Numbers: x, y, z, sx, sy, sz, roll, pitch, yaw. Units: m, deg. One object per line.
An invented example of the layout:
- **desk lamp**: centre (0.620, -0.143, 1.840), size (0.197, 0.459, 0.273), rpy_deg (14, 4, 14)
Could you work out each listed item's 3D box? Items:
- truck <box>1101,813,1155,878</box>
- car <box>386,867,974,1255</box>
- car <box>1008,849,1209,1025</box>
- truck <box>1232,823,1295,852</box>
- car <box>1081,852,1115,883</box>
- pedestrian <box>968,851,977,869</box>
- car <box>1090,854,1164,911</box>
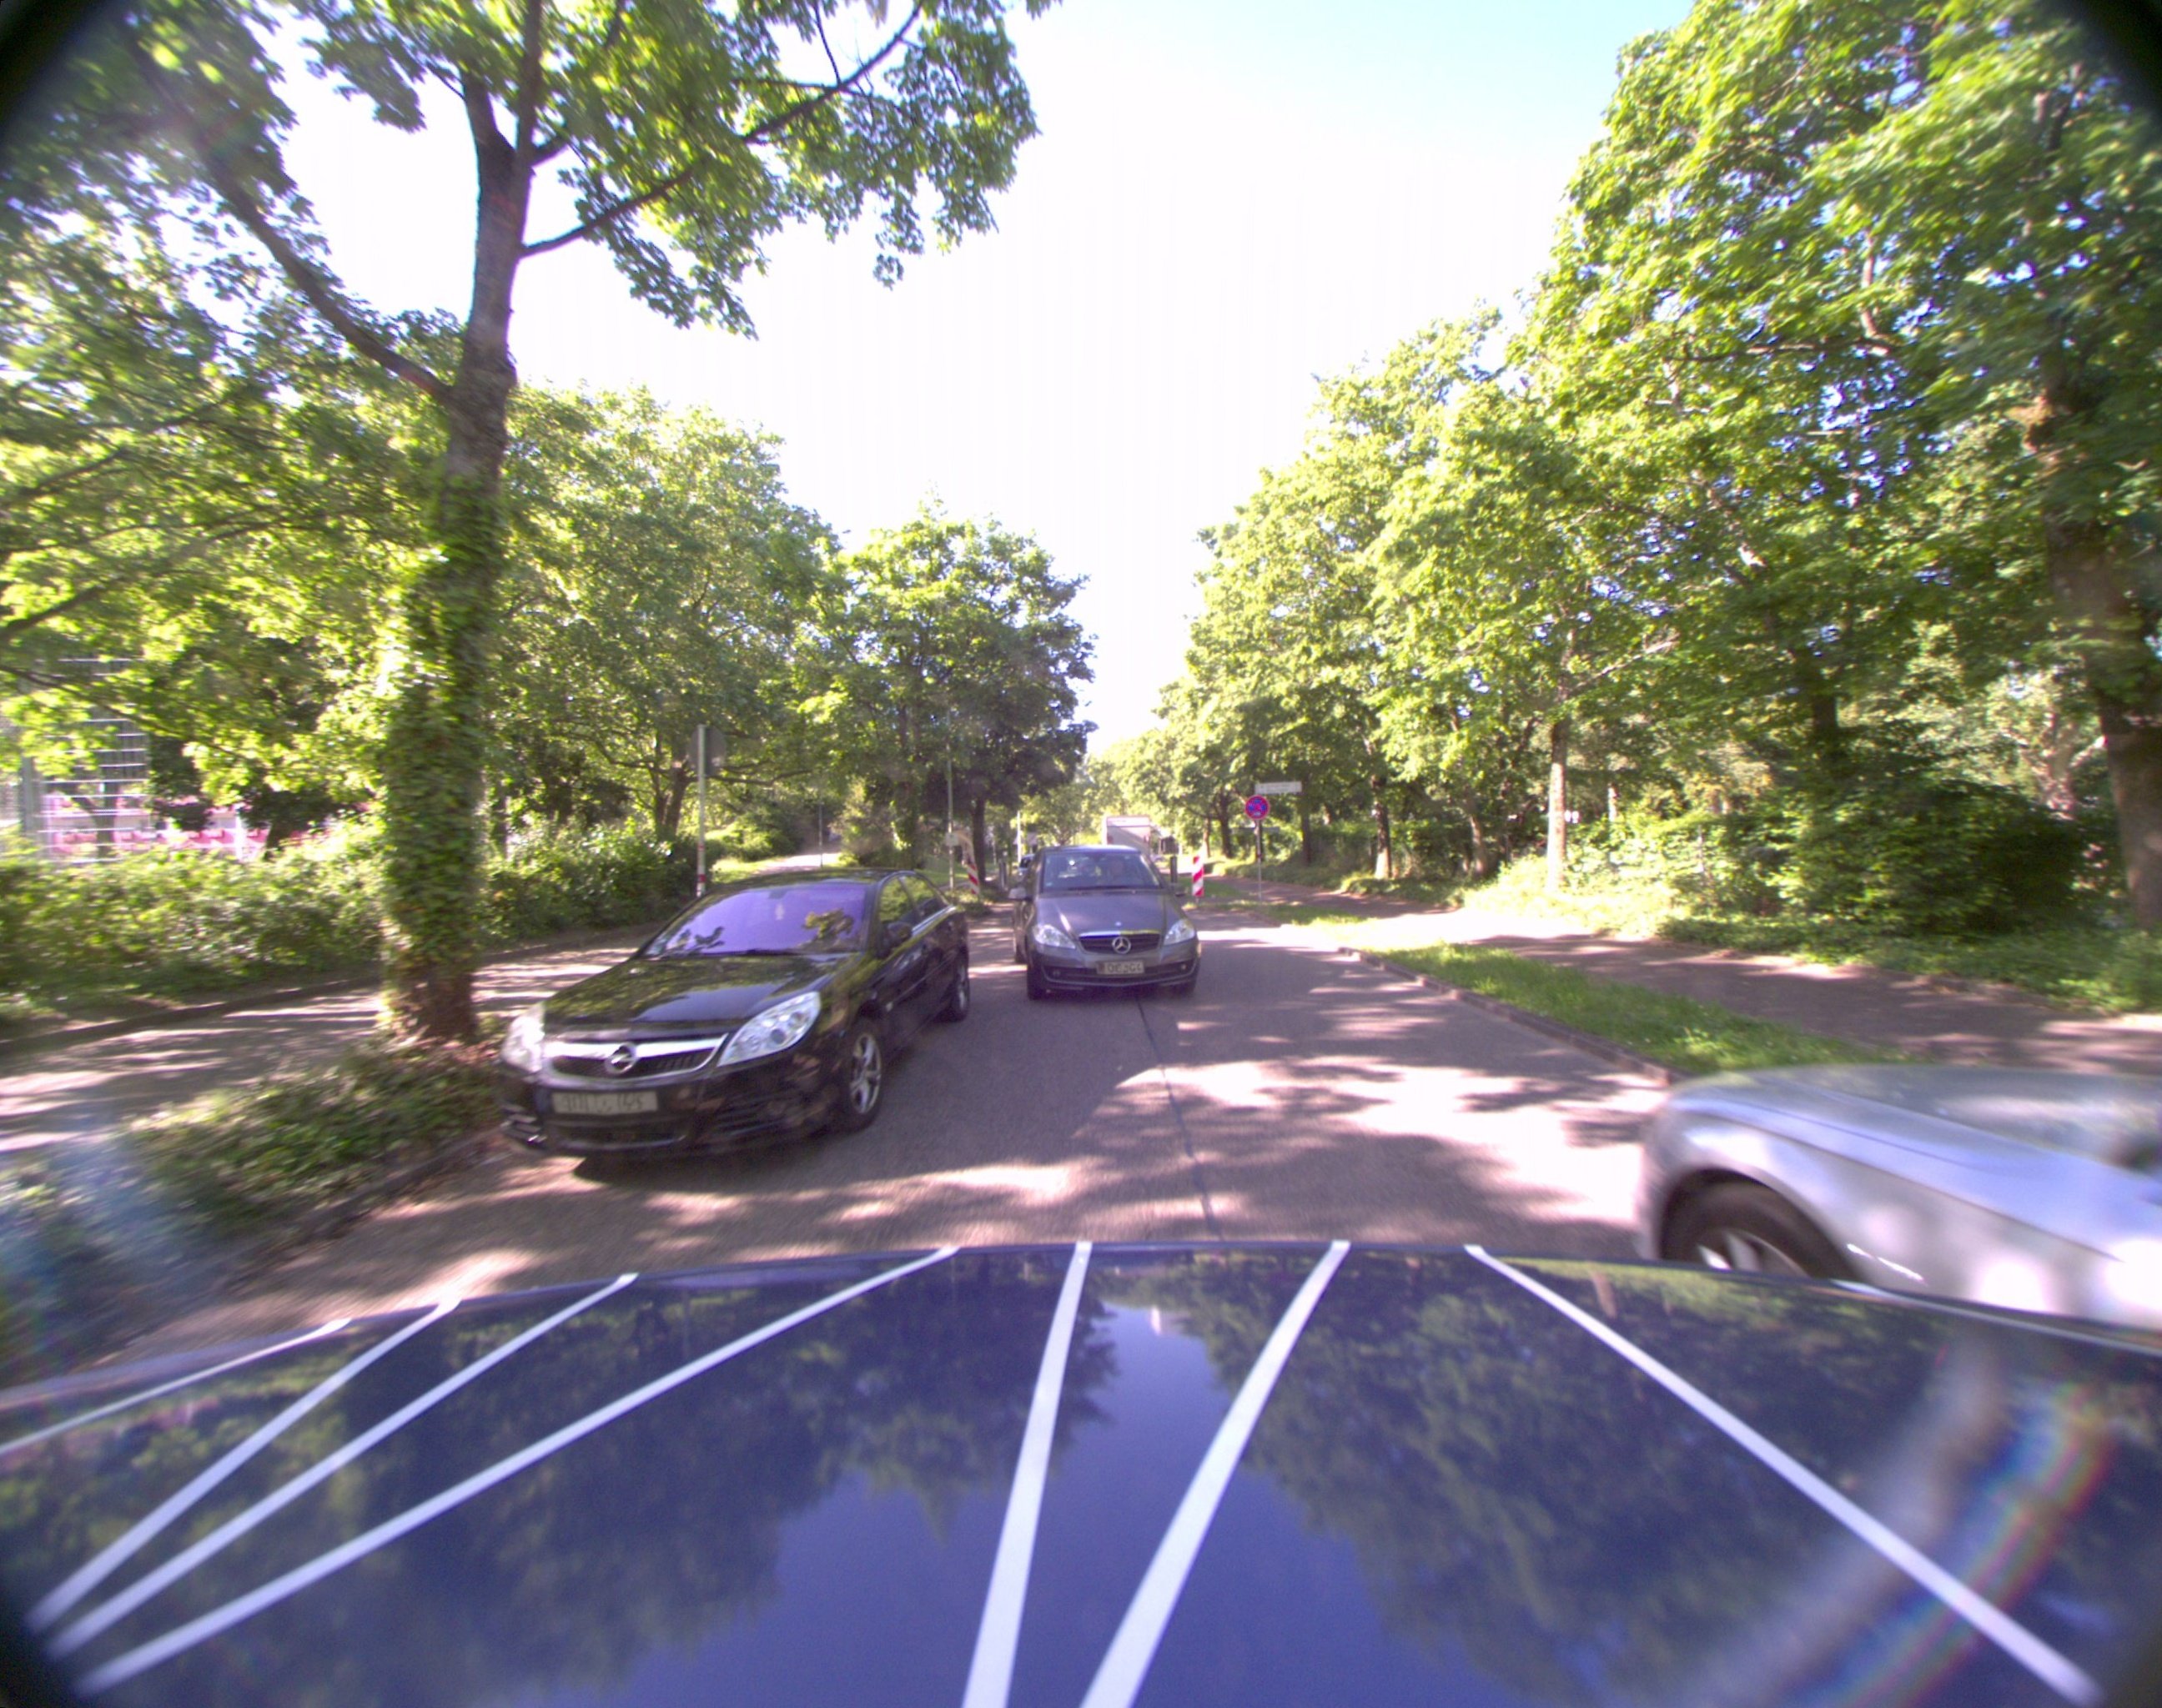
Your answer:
- **truck**: centre (2.825, -0.524, 47.825), size (2.741, 3.620, 8.100), rpy_deg (-2, 0, 0)
- **car**: centre (-2.013, 0.940, 5.282), size (1.752, 1.472, 4.030), rpy_deg (-2, 1, 2)
- **car**: centre (0.086, 0.772, 9.169), size (1.735, 1.578, 3.997), rpy_deg (-2, 0, -8)
- **truck**: centre (13.185, -1.186, 55.160), size (3.998, 2.002, 2.203), rpy_deg (0, 1, -2)
- **car**: centre (0.823, 0.630, 37.377), size (1.605, 1.418, 3.651), rpy_deg (0, 0, 0)
- **pedestrian**: centre (-11.066, 0.607, 77.554), size (0.793, 1.821, 0.671), rpy_deg (-2, 1, 0)
- **car**: centre (1.209, 0.743, 21.778), size (1.760, 1.446, 4.242), rpy_deg (0, 0, -1)
